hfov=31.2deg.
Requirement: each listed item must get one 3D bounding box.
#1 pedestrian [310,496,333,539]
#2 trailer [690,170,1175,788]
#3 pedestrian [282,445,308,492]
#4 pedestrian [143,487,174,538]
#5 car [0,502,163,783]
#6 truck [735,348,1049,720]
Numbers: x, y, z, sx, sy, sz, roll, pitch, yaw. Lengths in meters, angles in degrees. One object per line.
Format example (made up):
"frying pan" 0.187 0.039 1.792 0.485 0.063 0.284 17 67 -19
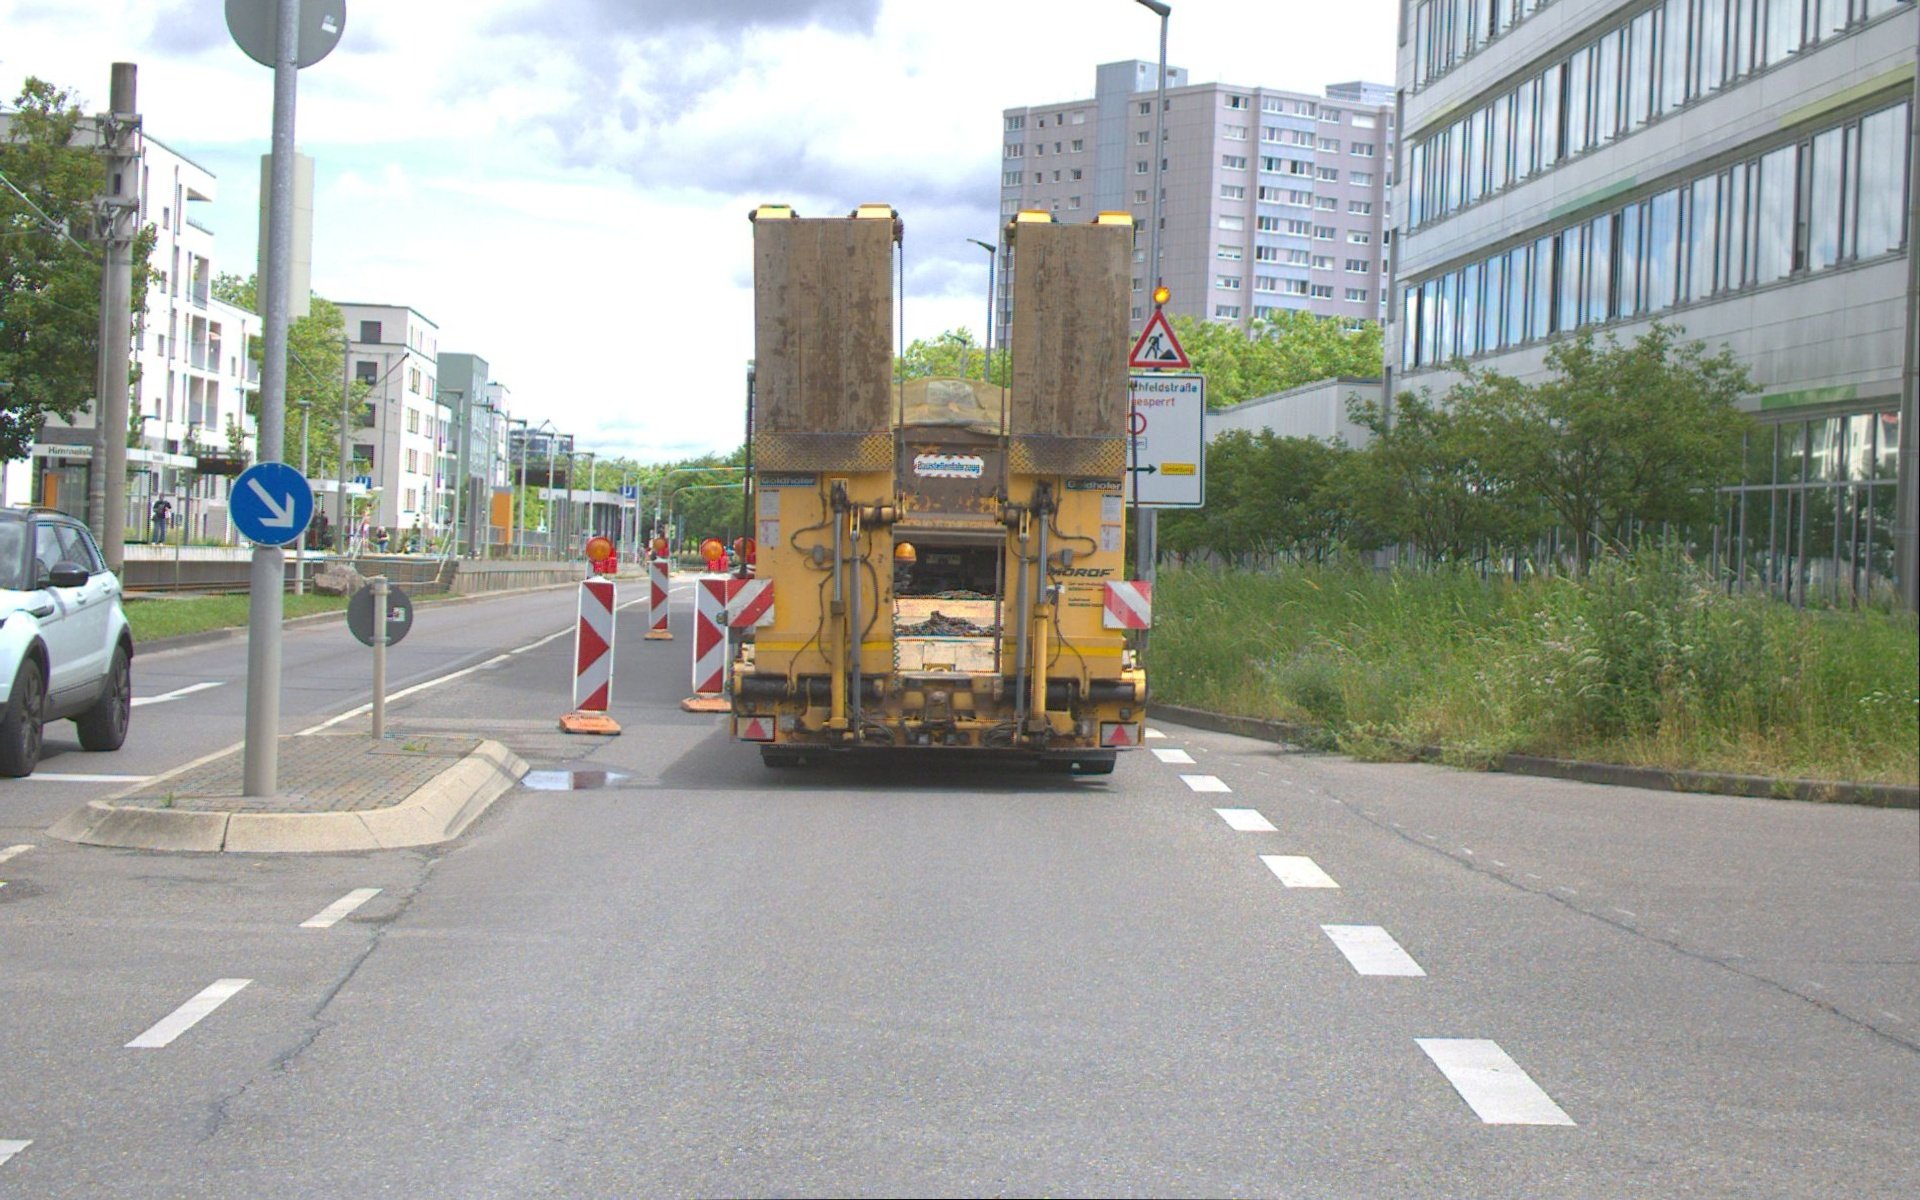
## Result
"pedestrian" -24.327 -3.155 130.978 0.488 1.591 0.676 3 0 33
"trailer" -0.404 -0.774 25.990 2.729 3.546 11.255 2 1 -3
"pedestrian" -24.922 -4.932 128.777 0.677 1.719 0.488 5 1 31
"pedestrian" -24.584 -2.683 105.435 0.741 1.526 0.547 2 0 1
"car" -6.464 0.180 21.777 1.860 1.605 4.608 2 1 -2
"truck" -0.791 -0.650 35.806 2.753 3.302 8.352 2 1 -2
